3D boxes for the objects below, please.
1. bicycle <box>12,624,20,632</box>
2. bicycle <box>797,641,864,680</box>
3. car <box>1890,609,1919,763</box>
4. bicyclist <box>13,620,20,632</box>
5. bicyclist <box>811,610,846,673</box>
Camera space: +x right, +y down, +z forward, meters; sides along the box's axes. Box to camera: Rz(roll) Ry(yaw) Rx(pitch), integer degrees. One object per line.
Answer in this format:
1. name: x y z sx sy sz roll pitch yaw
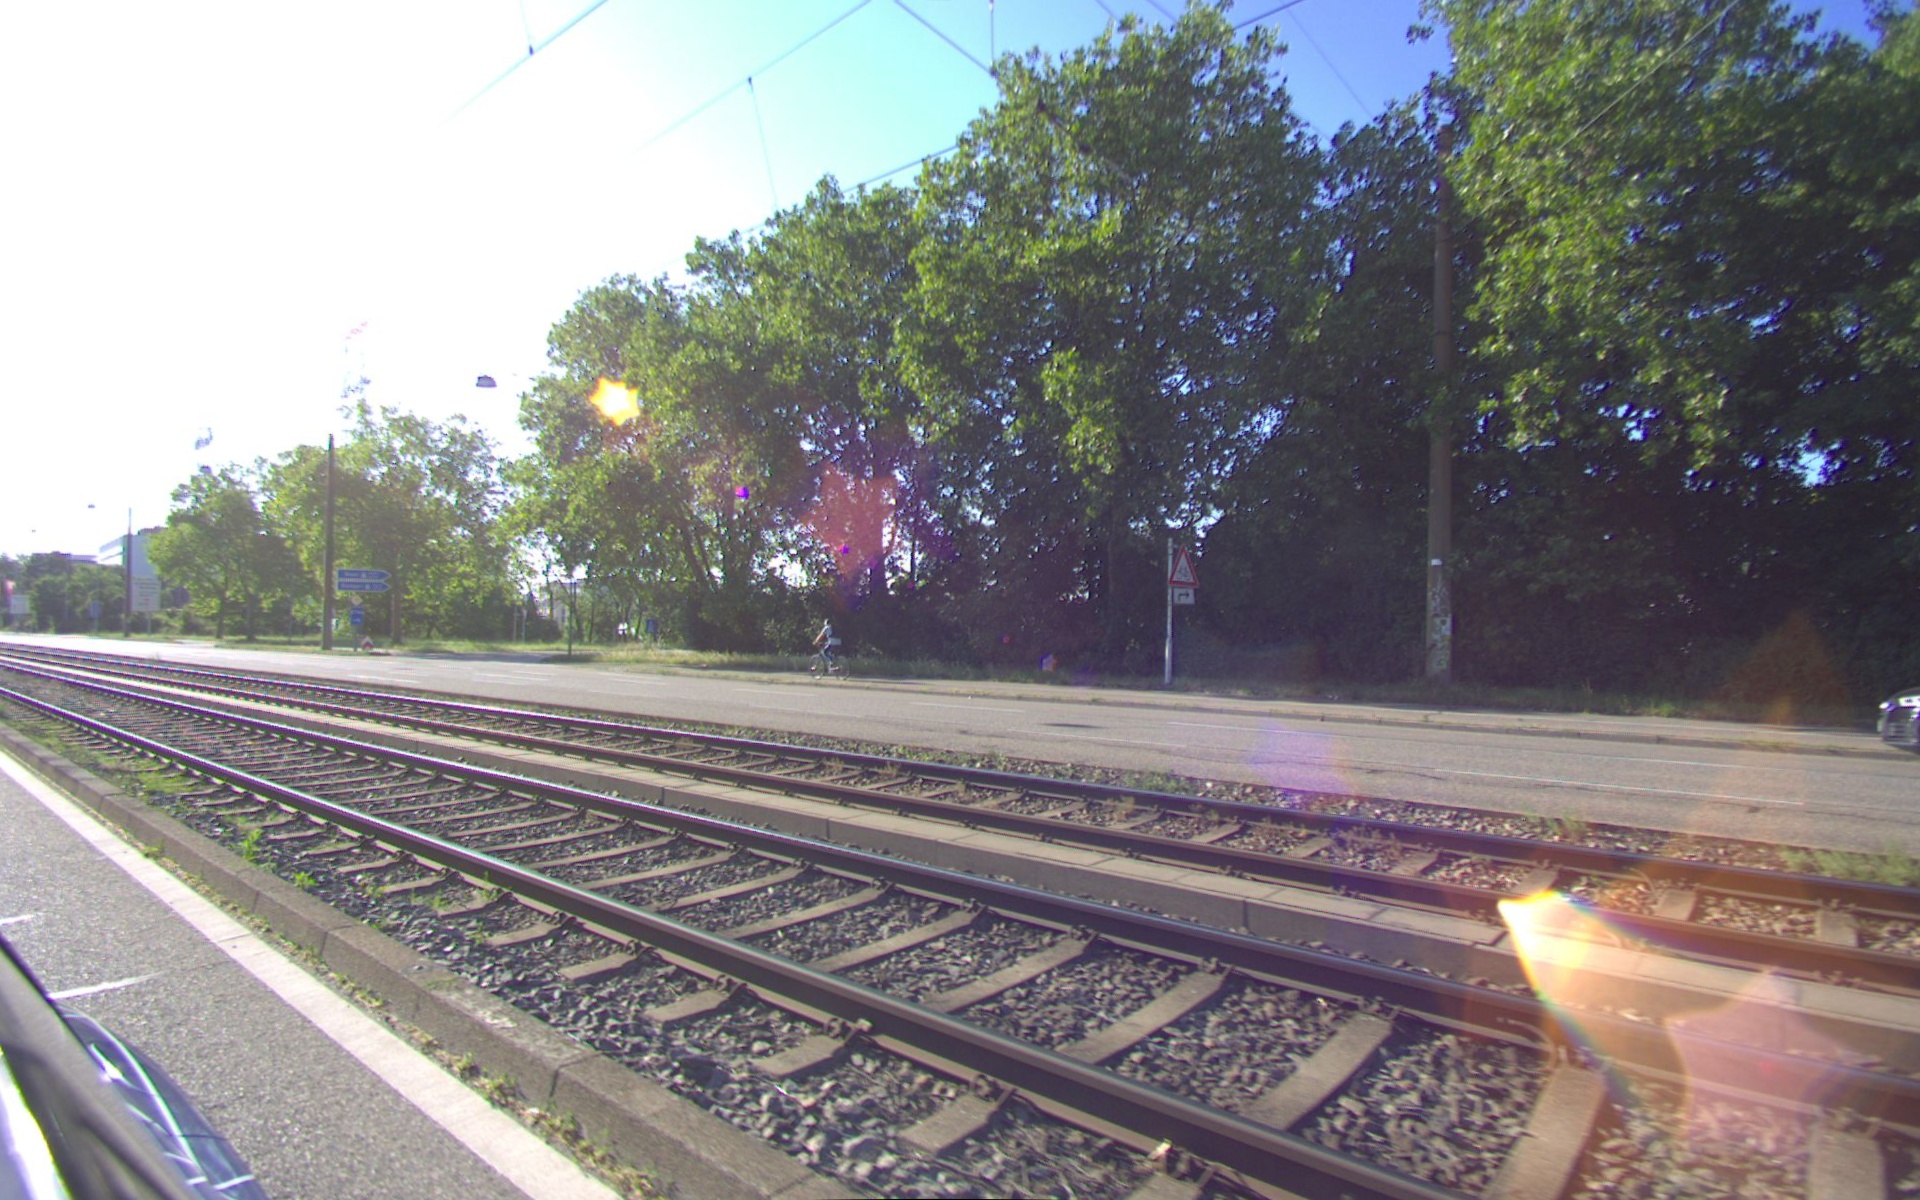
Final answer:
1. bicycle: -131.187 3.897 140.662 2.184 1.029 0.584 -1 -2 41
2. bicycle: -3.636 1.678 28.277 2.239 0.993 0.544 -1 0 44
3. car: 12.908 0.994 10.474 4.795 1.698 1.972 -1 -4 43
4. bicyclist: -131.152 3.578 140.632 0.966 1.623 0.584 -1 -2 41
5. bicyclist: -3.669 1.145 28.254 0.544 1.703 0.821 -1 0 -45
